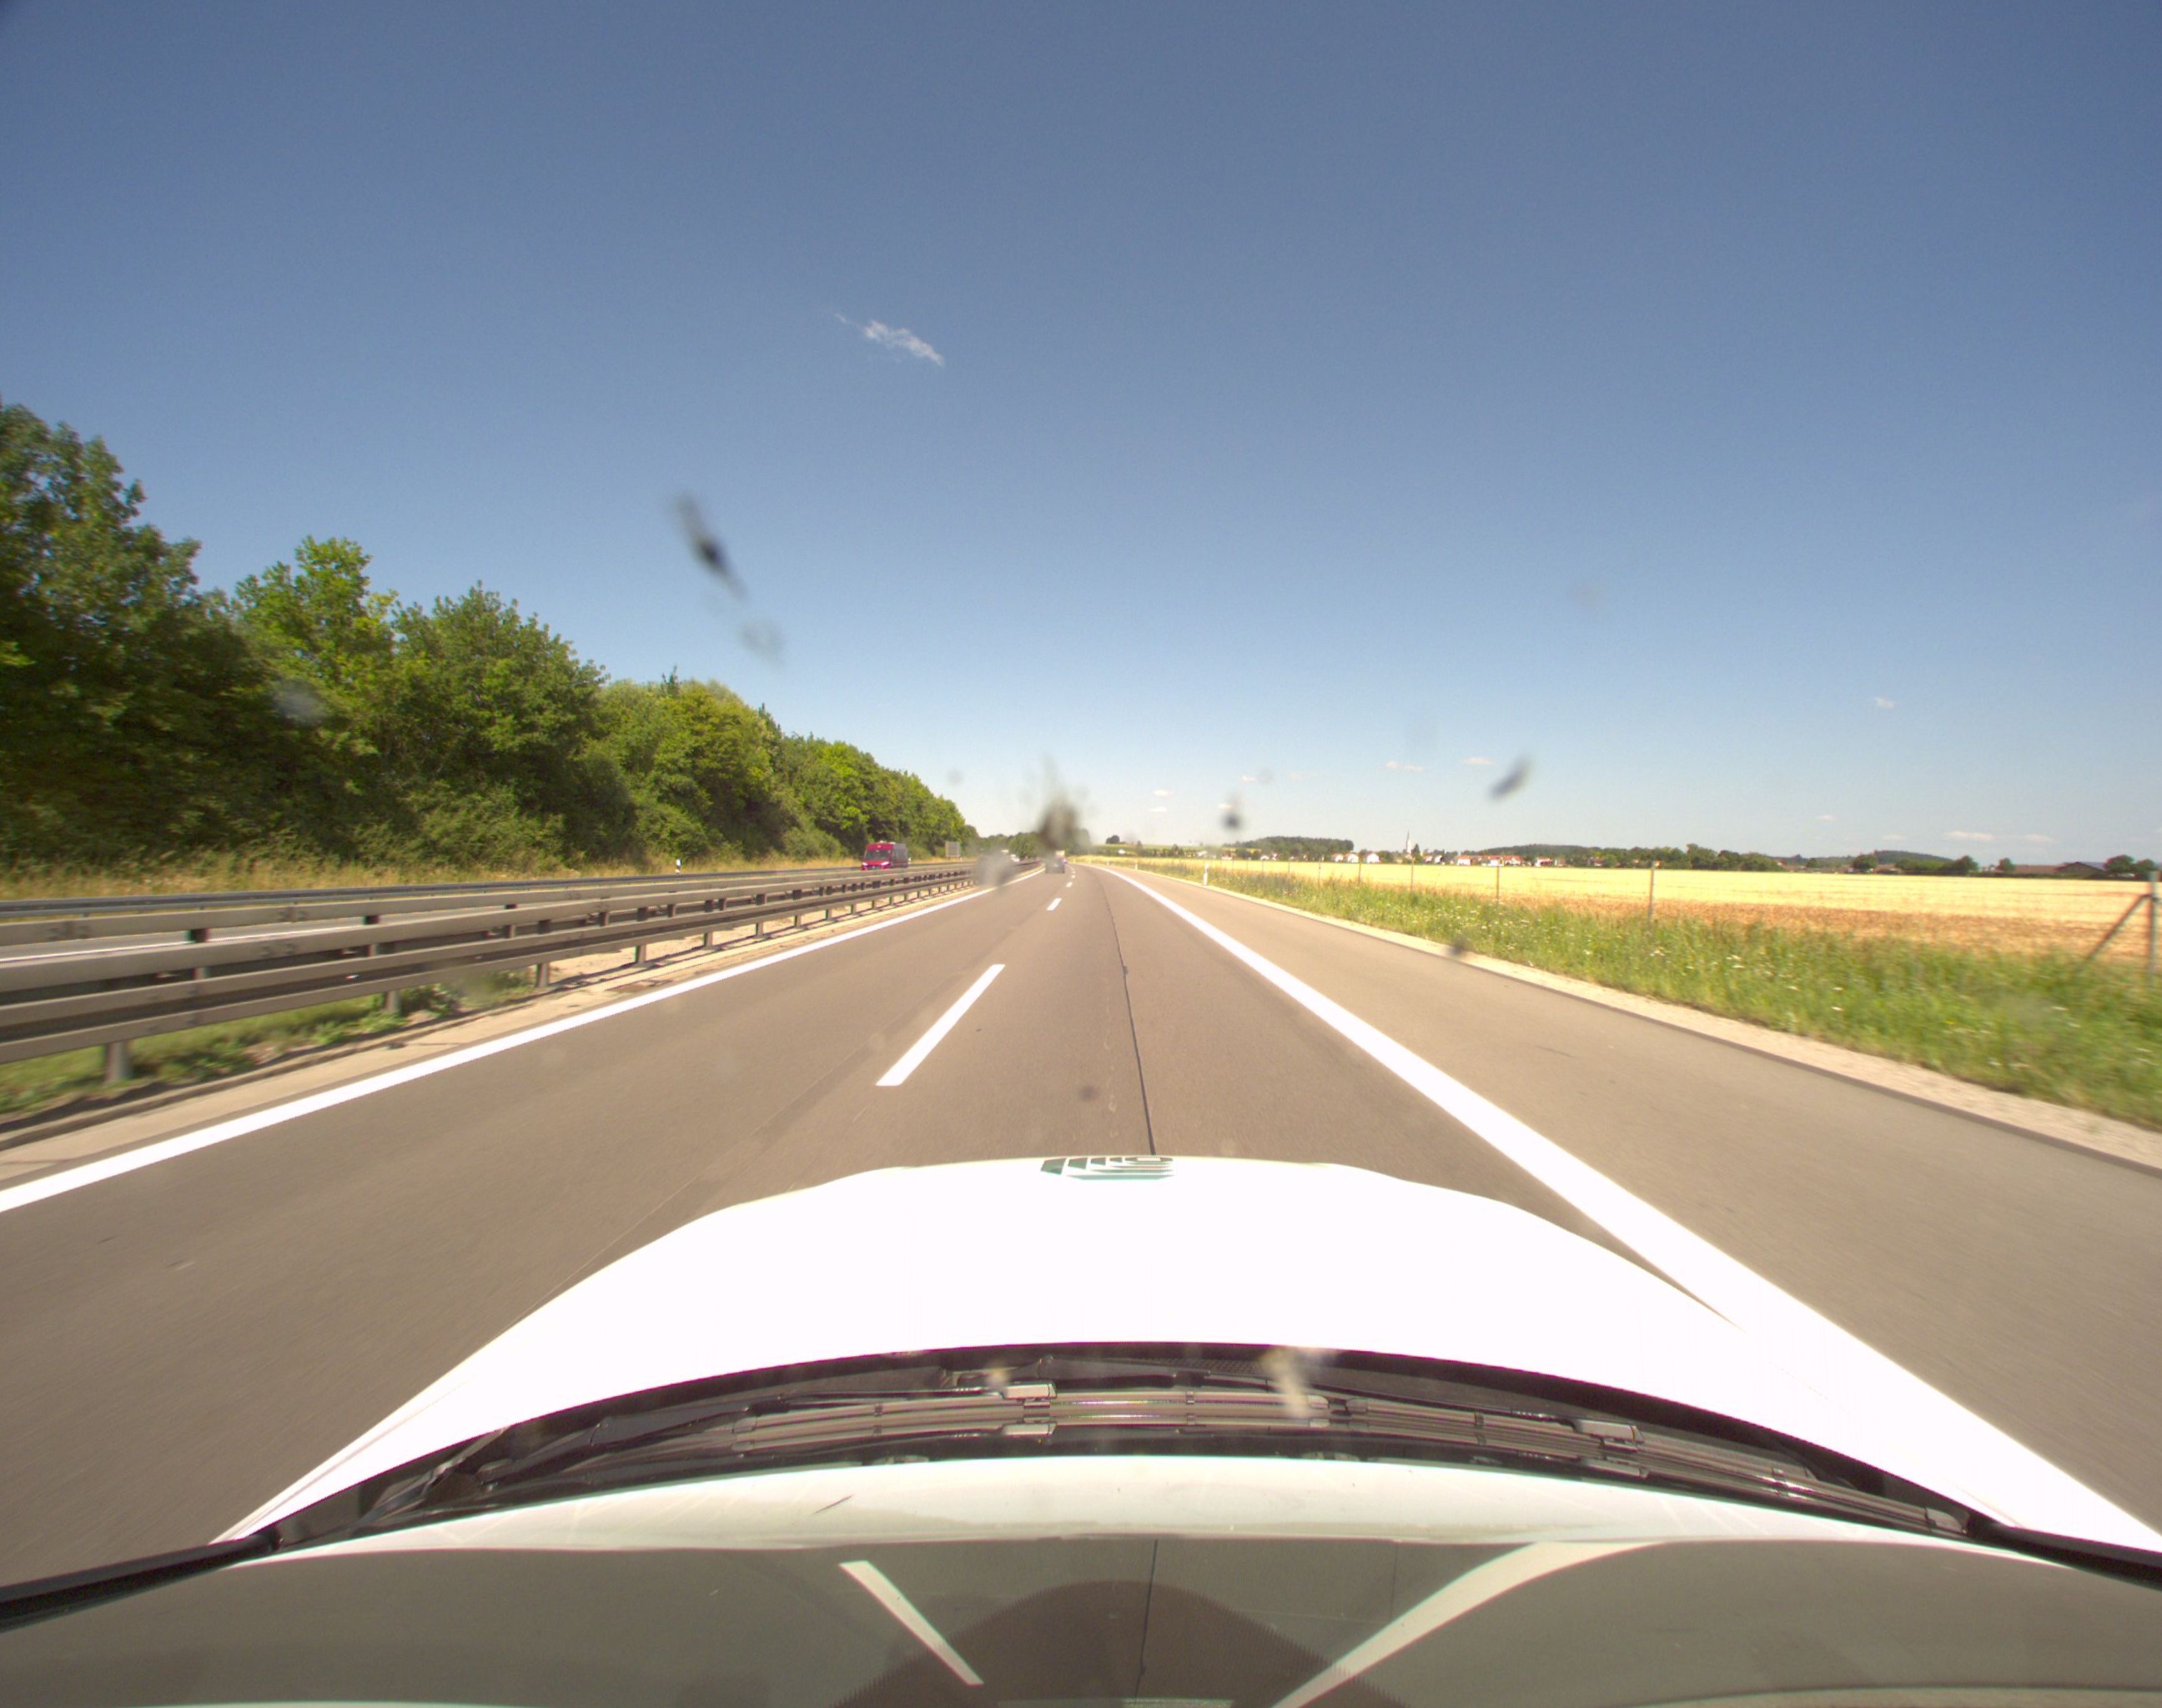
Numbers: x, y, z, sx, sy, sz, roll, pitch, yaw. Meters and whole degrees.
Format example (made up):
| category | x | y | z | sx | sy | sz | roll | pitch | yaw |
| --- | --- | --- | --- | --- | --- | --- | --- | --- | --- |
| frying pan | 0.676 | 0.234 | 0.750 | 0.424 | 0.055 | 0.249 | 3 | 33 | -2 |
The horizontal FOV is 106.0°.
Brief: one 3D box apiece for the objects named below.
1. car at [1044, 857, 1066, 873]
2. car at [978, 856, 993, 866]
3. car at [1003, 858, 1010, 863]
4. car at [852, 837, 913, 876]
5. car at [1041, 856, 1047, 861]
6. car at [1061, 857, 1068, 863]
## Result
| category | x | y | z | sx | sy | sz | roll | pitch | yaw |
| --- | --- | --- | --- | --- | --- | --- | --- | --- | --- |
| car | -2.455 | 1.001 | 77.378 | 1.841 | 1.432 | 5.865 | 0 | 0 | 0 |
| car | -15.181 | 1.031 | 129.071 | 1.805 | 1.555 | 4.848 | 0 | 0 | 0 |
| car | -20.314 | 1.692 | 223.446 | 1.668 | 1.437 | 4.139 | 0 | 0 | -2 |
| car | -13.939 | 0.168 | 57.686 | 2.535 | 2.595 | 6.593 | 1 | 0 | 1 |
| car | -11.246 | 1.344 | 246.681 | 1.672 | 1.453 | 3.589 | 0 | 0 | -2 |
| car | -4.130 | 1.468 | 203.585 | 1.673 | 1.453 | 3.587 | 0 | 0 | -4 |
